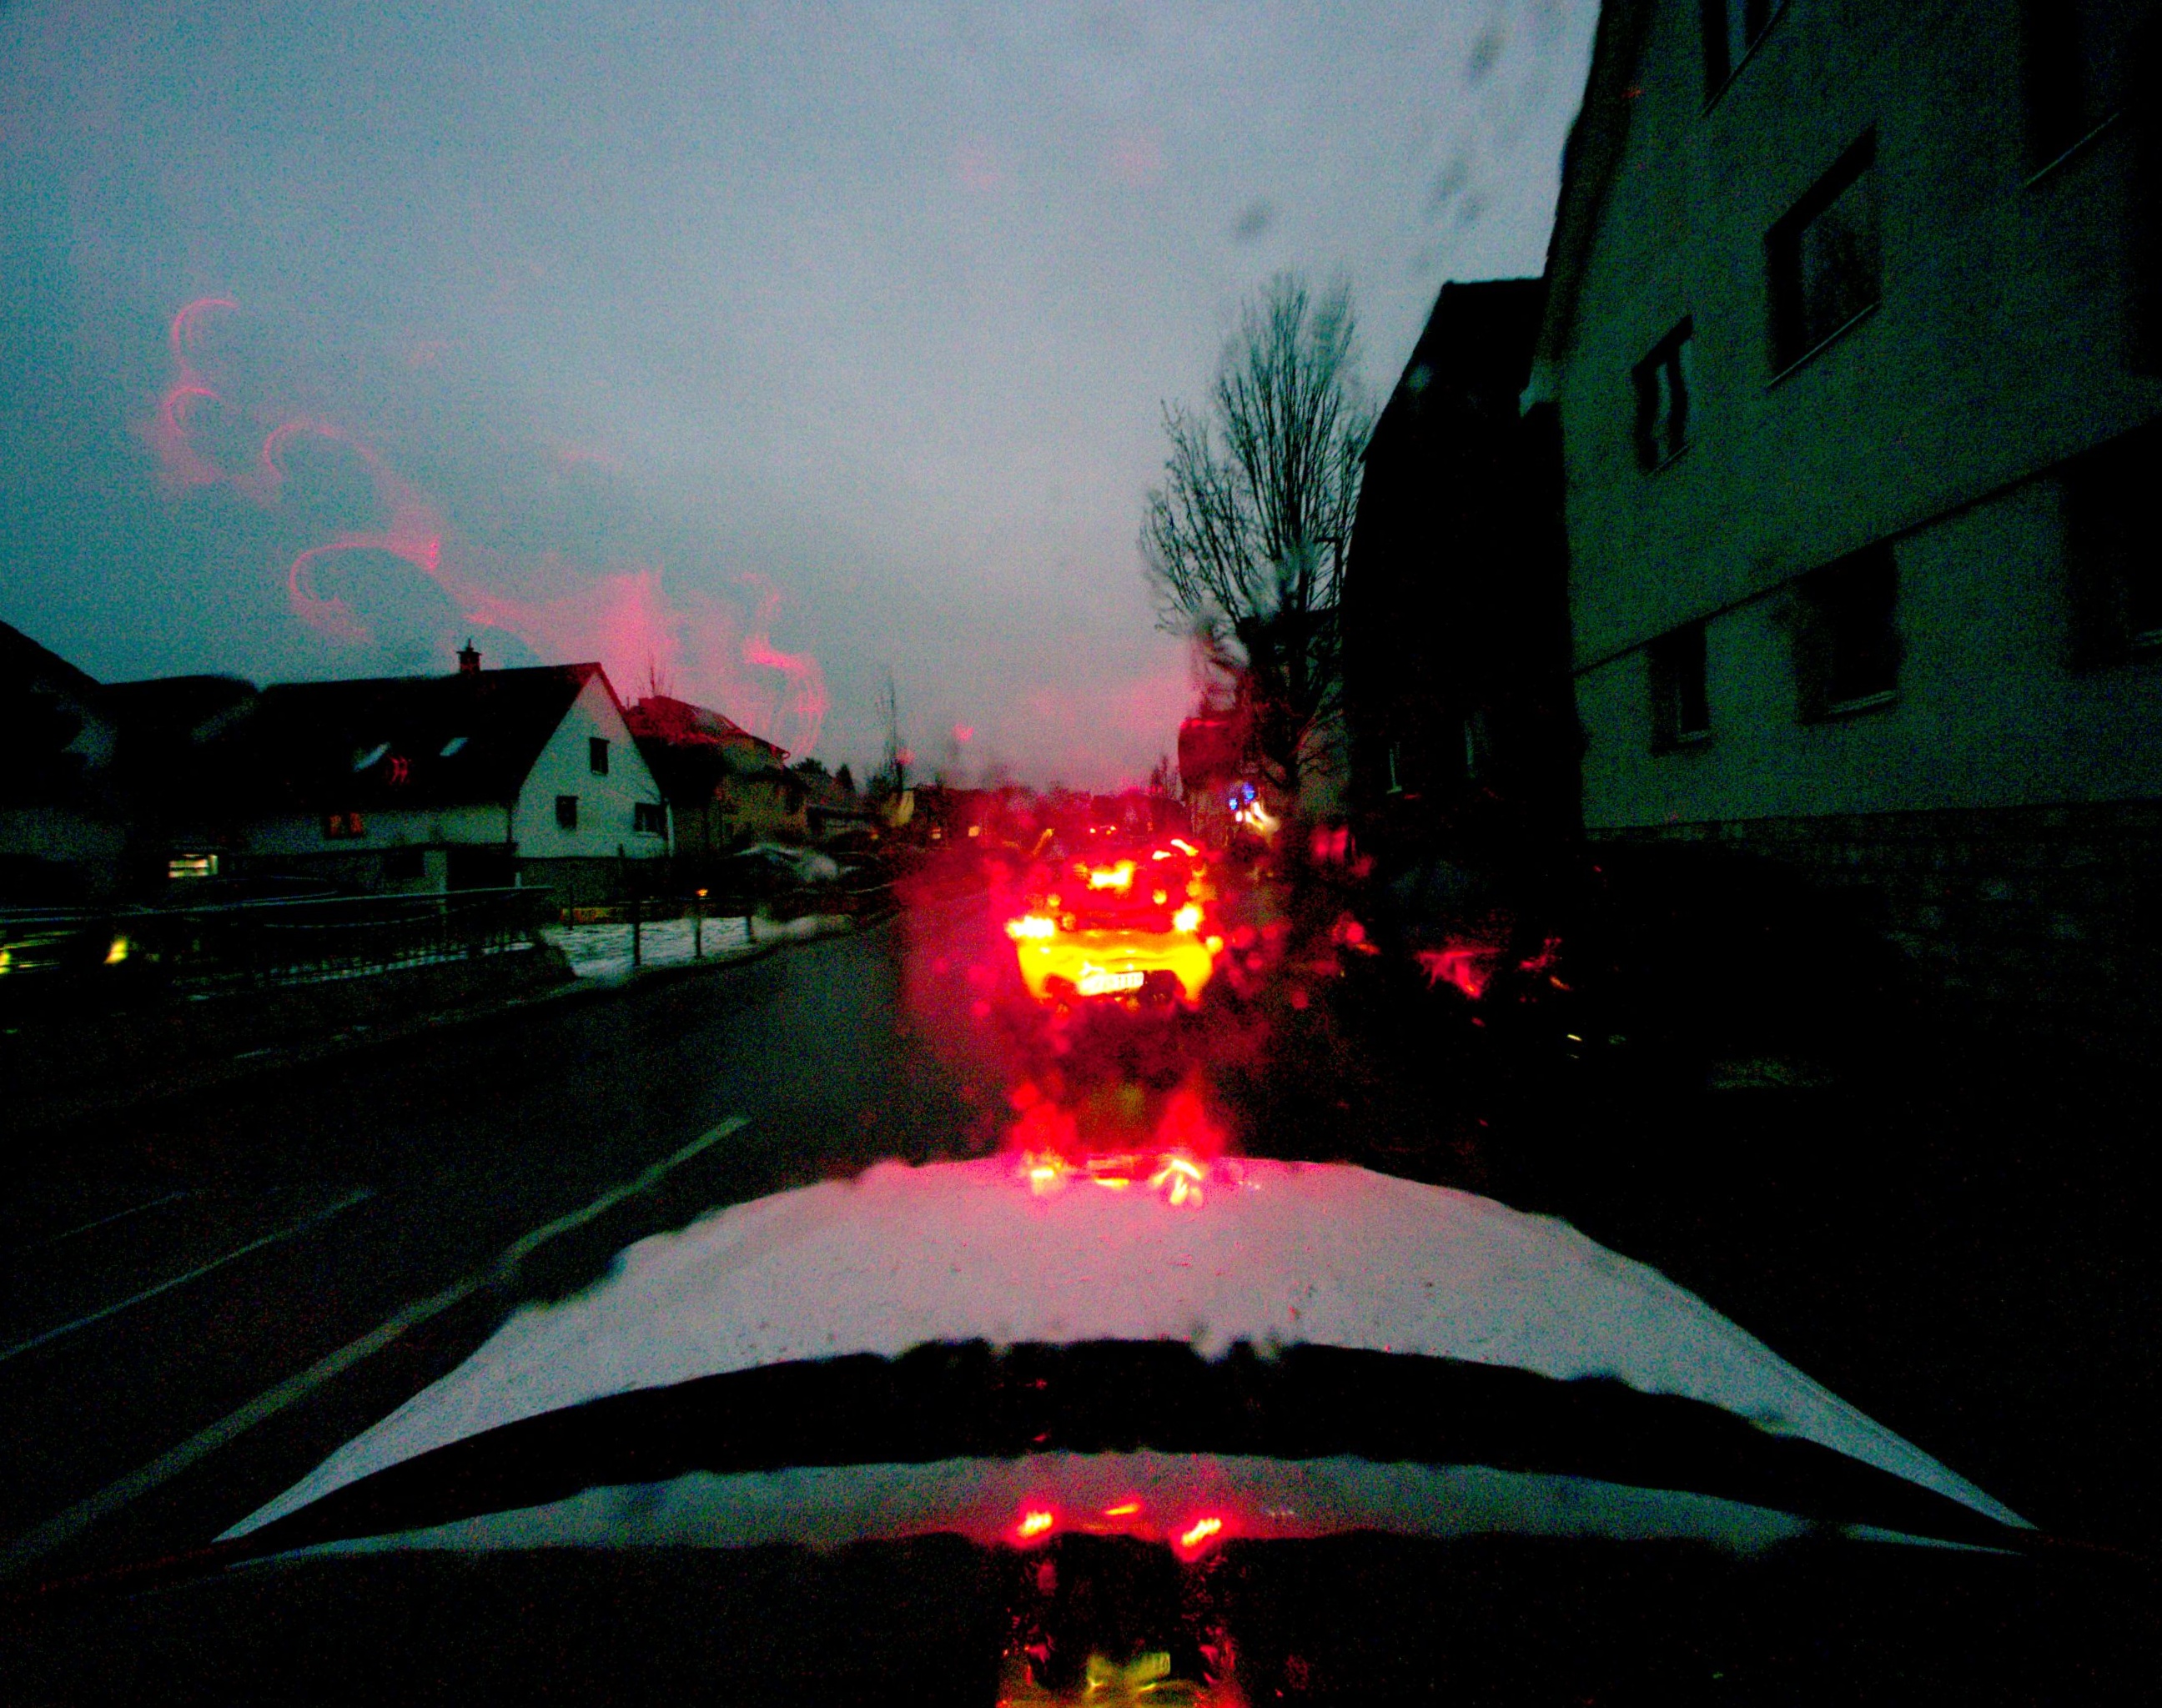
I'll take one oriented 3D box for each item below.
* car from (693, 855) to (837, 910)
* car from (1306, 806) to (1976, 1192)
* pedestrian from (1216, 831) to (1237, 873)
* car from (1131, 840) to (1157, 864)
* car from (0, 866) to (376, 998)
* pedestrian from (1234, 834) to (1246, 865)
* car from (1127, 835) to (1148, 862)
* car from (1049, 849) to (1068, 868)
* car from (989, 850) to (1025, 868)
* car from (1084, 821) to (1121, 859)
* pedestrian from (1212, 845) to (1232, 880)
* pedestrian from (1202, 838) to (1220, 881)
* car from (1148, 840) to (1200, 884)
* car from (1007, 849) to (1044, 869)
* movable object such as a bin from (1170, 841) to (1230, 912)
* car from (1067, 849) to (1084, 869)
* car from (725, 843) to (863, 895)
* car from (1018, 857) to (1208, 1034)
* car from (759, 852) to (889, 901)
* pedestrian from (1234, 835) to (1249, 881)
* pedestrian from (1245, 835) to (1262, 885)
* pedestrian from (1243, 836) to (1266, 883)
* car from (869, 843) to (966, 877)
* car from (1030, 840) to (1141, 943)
[{"bbox_3d":[-9.014,0.803,23.421,3.432,1.372,1.601,-3,0,1],"label":"car"},{"bbox_3d":[2.862,0.571,5.439,1.720,1.464,4.204,-5,1,4],"label":"car"},{"bbox_3d":[6.142,-0.102,34.371,0.707,1.715,1.039,-3,1,15],"label":"pedestrian"},{"bbox_3d":[5.119,-0.139,66.662,1.990,1.865,4.085,-1,0,2],"label":"car"},{"bbox_3d":[-14.105,1.076,12.759,1.794,1.482,4.577,-4,1,4],"label":"car"},{"bbox_3d":[8.950,-0.234,45.765,0.614,1.727,0.503,-1,-2,13],"label":"pedestrian"},{"bbox_3d":[5.460,-0.464,78.984,1.862,2.469,4.447,-1,-2,3],"label":"car"},{"bbox_3d":[-2.454,0.496,89.614,1.913,2.028,3.974,-1,-2,0],"label":"car"},{"bbox_3d":[-8.481,0.618,92.950,1.833,1.976,4.117,1,-3,-44],"label":"car"},{"bbox_3d":[1.936,-1.198,73.505,3.179,3.032,6.306,-1,-2,1],"label":"car"},{"bbox_3d":[6.739,0.395,38.833,0.618,1.626,0.903,-2,2,-11],"label":"pedestrian"},{"bbox_3d":[5.292,0.205,33.201,0.570,1.699,0.653,-4,0,3],"label":"pedestrian"},{"bbox_3d":[3.883,0.324,34.678,1.729,1.692,4.387,-2,0,1],"label":"car"},{"bbox_3d":[-6.630,0.635,96.587,2.011,2.167,4.332,1,-3,-44],"label":"car"},{"bbox_3d":[2.656,0.481,18.339,1.124,1.420,1.419,-5,1,4],"label":"movable object such as a bin"},{"bbox_3d":[-0.613,0.612,97.468,1.913,2.216,3.974,-1,-2,0],"label":"car"},{"bbox_3d":[-9.189,0.466,26.192,3.772,1.523,1.719,-1,0,8],"label":"car"},{"bbox_3d":[0.316,0.768,8.260,1.557,1.412,3.019,-1,0,2],"label":"car"},{"bbox_3d":[-9.099,0.784,28.971,4.074,1.608,1.589,-1,0,5],"label":"car"},{"bbox_3d":[6.411,0.156,32.483,0.525,1.800,0.867,-1,1,12],"label":"pedestrian"},{"bbox_3d":[5.911,0.216,27.901,0.525,1.653,0.957,-1,-2,12],"label":"pedestrian"},{"bbox_3d":[6.420,0.220,30.163,0.743,1.679,1.054,-1,-2,8],"label":"pedestrian"},{"bbox_3d":[-8.493,0.309,42.501,4.611,1.667,1.999,-1,0,-1],"label":"car"},{"bbox_3d":[0.133,0.580,14.829,1.760,1.628,3.587,-1,1,2],"label":"car"}]
